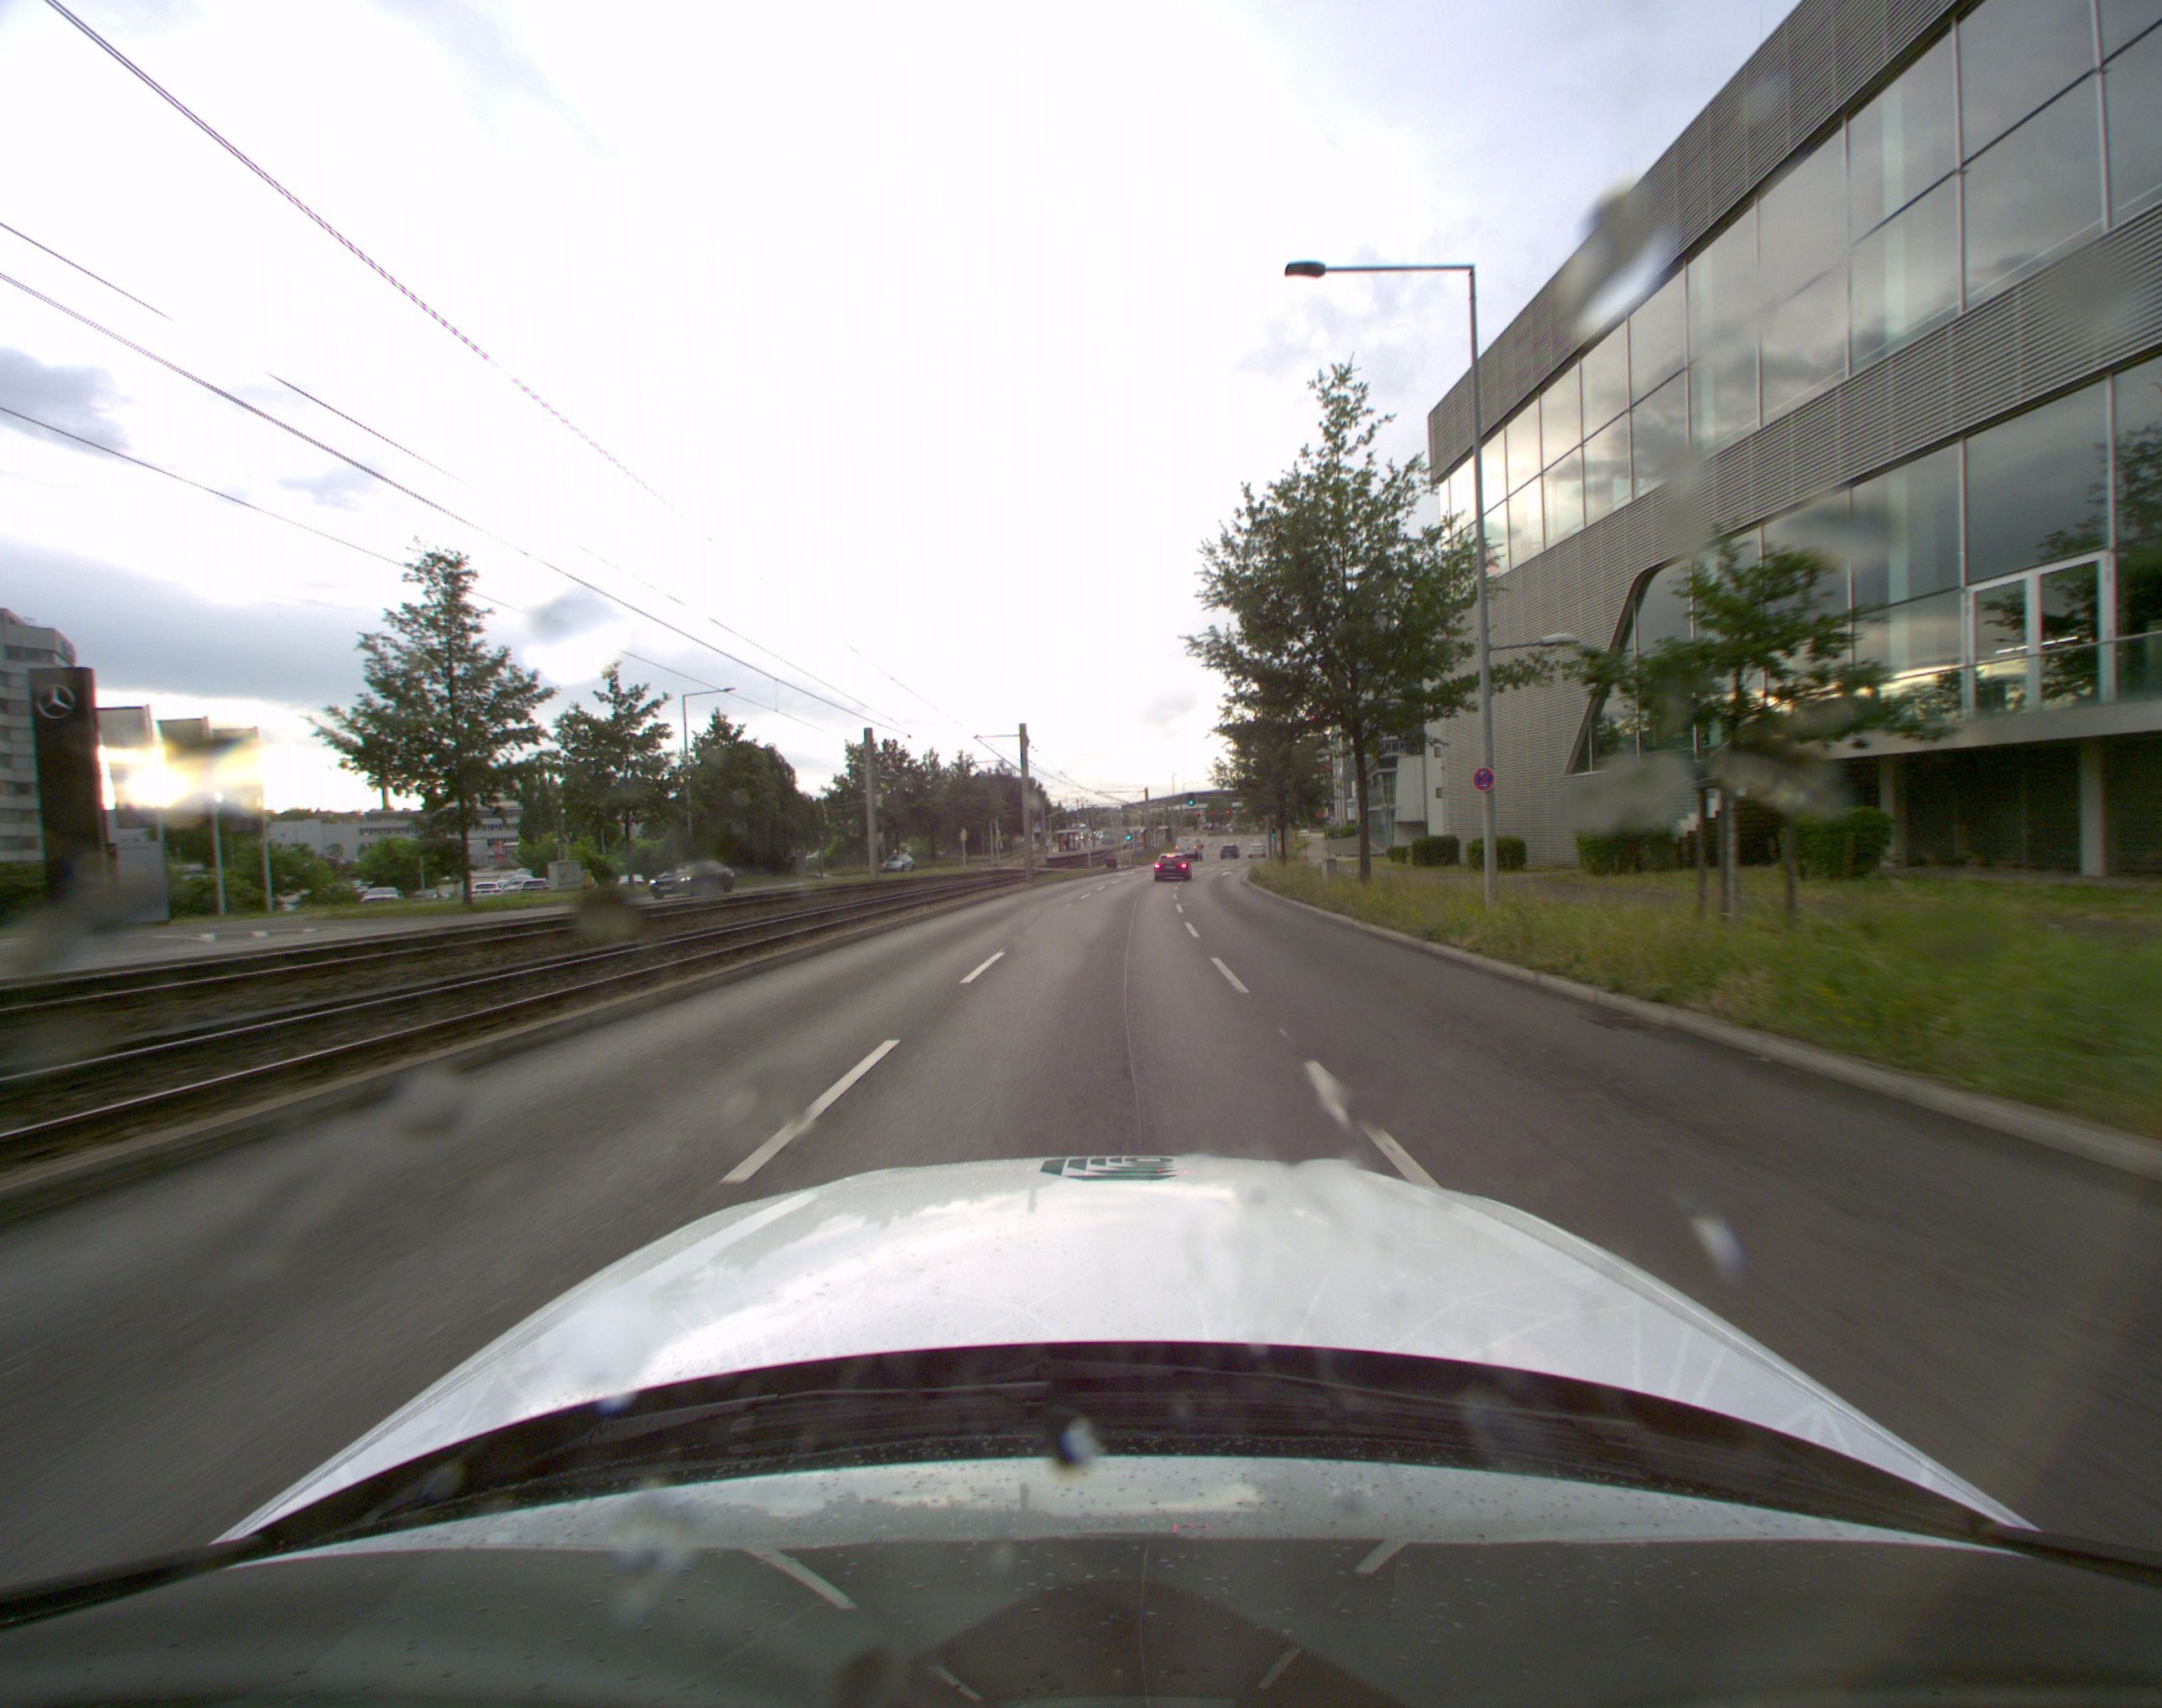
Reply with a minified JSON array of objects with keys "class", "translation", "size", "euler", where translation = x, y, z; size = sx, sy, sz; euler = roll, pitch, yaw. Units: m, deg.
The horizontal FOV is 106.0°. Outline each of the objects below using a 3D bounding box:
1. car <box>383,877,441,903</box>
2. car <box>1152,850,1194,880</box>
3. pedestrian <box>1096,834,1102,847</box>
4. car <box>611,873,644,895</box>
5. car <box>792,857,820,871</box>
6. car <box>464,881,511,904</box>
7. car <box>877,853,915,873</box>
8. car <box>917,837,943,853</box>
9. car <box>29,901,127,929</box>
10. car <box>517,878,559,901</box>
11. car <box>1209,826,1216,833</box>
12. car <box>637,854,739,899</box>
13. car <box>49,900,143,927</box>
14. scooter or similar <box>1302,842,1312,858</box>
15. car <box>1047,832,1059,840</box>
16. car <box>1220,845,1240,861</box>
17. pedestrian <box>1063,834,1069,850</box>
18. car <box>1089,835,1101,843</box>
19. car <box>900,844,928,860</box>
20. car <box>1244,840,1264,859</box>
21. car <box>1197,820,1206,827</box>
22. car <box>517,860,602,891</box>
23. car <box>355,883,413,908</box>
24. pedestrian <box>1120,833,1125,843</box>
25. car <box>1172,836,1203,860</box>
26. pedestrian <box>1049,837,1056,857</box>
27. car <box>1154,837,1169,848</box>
[{"class":"car","translation":[-42.899,2.276,52.301],"size":[2.004,1.510,3.964],"euler":[0,-1,-27]},{"class":"car","translation":[4.972,0.559,43.568],"size":[1.752,1.463,4.643],"euler":[-1,0,13]},{"class":"pedestrian","translation":[2.807,-2.074,127.188],"size":[0.852,2.014,1.041],"euler":[-1,-2,2]},{"class":"car","translation":[-33.485,2.195,60.198],"size":[2.004,1.510,3.964],"euler":[0,-1,-27]},{"class":"car","translation":[-28.468,1.079,84.302],"size":[2.006,1.415,3.961],"euler":[0,-2,-30]},{"class":"car","translation":[-41.289,2.677,56.747],"size":[1.759,1.494,3.969],"euler":[0,-1,-23]},{"class":"car","translation":[-16.090,0.757,71.103],"size":[1.983,1.679,4.007],"euler":[-1,0,6]},{"class":"car","translation":[-20.679,-1.249,111.482],"size":[1.979,2.014,4.014],"euler":[-1,-1,13]},{"class":"car","translation":[-68.297,4.133,55.564],"size":[3.725,1.674,1.980],"euler":[0,-2,-32]},{"class":"car","translation":[-38.780,2.504,58.232],"size":[1.759,1.494,3.969],"euler":[0,-1,-23]},{"class":"car","translation":[41.747,-7.910,258.374],"size":[1.809,2.014,3.476],"euler":[-1,-1,6]},{"class":"car","translation":[-16.119,0.869,33.704],"size":[1.876,1.520,4.404],"euler":[-5,0,1]},{"class":"car","translation":[-69.395,4.188,57.465],"size":[3.725,1.674,1.980],"euler":[0,-2,-32]},{"class":"scooter or similar","translation":[18.384,-0.332,66.249],"size":[0.455,1.263,1.340],"euler":[-4,0,8]},{"class":"car","translation":[-7.211,-4.663,212.785],"size":[2.000,2.014,3.972],"euler":[0,-1,-20]},{"class":"car","translation":[15.780,-0.118,86.592],"size":[2.009,1.623,4.010],"euler":[-1,-1,10]},{"class":"pedestrian","translation":[-1.788,-1.447,98.030],"size":[0.633,1.854,0.753],"euler":[-1,-2,10]},{"class":"car","translation":[3.727,-3.980,220.503],"size":[2.000,2.014,3.972],"euler":[0,-1,-20]},{"class":"car","translation":[-21.762,-0.181,106.235],"size":[1.979,2.014,4.014],"euler":[-1,-1,13]},{"class":"car","translation":[18.540,-0.497,87.281],"size":[2.008,1.769,4.013],"euler":[-1,2,11]},{"class":"car","translation":[36.350,-9.206,245.220],"size":[1.987,2.014,3.999],"euler":[-1,-1,0]},{"class":"car","translation":[-28.925,1.191,45.337],"size":[1.985,1.651,4.003],"euler":[-1,-1,4]},{"class":"car","translation":[-45.991,2.716,53.841],"size":[1.759,1.494,3.969],"euler":[0,-1,-23]},{"class":"pedestrian","translation":[7.520,-2.826,147.604],"size":[0.747,1.751,0.766],"euler":[-1,-2,11]},{"class":"car","translation":[10.695,-0.551,81.519],"size":[2.494,2.177,5.167],"euler":[-1,-1,13]},{"class":"pedestrian","translation":[-2.891,-0.724,82.678],"size":[0.546,1.953,0.665],"euler":[-1,-2,7]},{"class":"car","translation":[12.837,-1.911,129.534],"size":[1.981,1.452,3.861],"euler":[-1,4,11]}]
